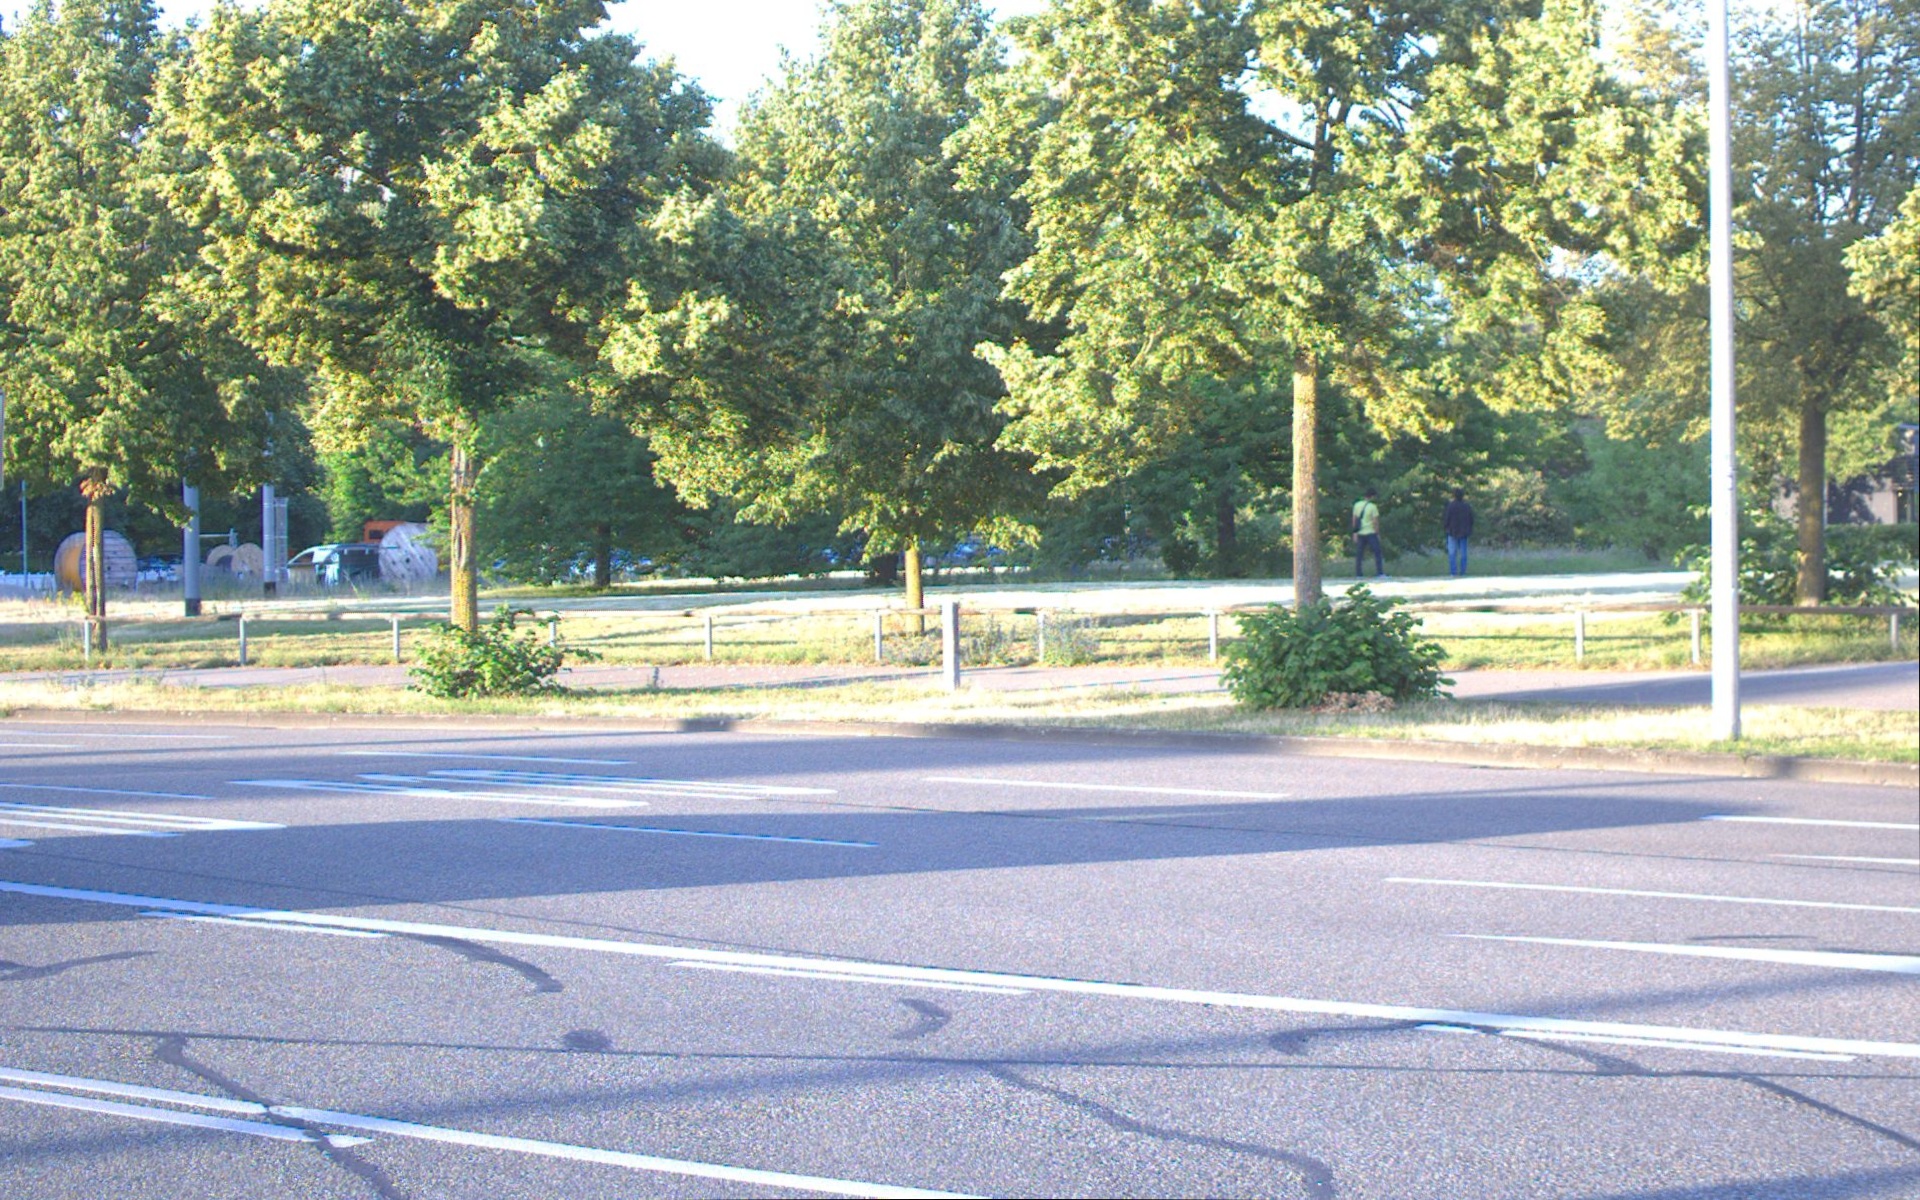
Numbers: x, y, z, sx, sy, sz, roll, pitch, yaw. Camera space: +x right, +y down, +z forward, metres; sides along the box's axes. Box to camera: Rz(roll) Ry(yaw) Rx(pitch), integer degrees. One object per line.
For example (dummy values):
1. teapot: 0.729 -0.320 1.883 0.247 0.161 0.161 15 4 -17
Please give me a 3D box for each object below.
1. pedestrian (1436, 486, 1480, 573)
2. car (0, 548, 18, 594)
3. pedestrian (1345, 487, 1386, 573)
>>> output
1. pedestrian: 9.423 -1.332 65.031 0.618 1.621 0.530 -2 1 -34
2. car: -34.017 -0.970 115.953 3.992 1.545 1.997 0 1 27
3. pedestrian: 7.714 -1.340 65.394 0.579 1.621 0.533 -1 1 -23
